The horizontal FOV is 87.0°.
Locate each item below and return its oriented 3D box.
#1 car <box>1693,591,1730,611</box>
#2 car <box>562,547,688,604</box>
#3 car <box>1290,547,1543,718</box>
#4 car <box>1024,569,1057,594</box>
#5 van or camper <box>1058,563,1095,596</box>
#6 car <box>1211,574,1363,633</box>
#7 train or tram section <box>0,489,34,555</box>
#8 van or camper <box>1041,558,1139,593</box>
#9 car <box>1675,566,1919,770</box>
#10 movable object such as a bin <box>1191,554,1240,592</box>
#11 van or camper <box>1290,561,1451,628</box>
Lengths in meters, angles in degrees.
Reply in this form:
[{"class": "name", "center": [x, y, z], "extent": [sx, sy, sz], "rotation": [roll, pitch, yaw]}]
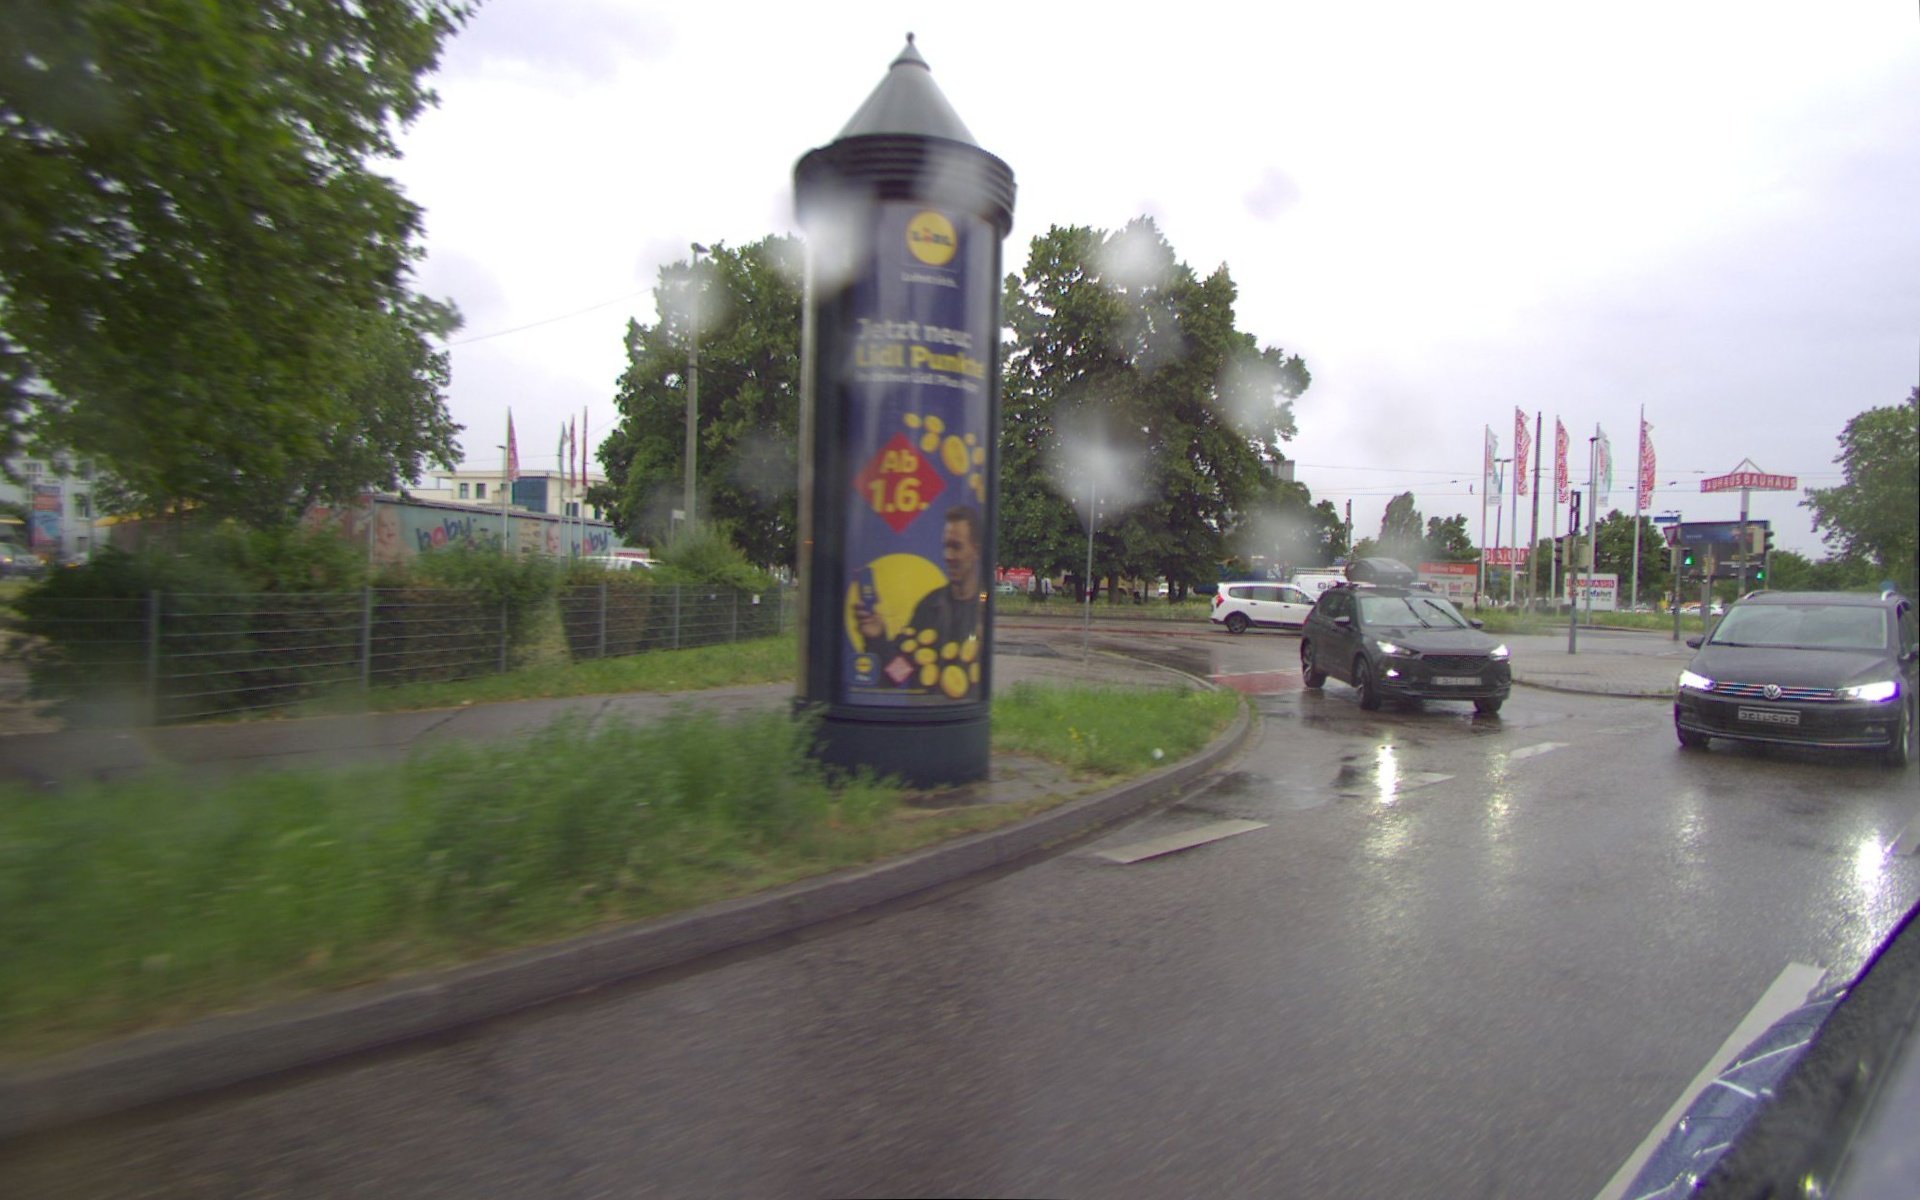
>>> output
[{"class": "car", "center": [63.758, 0.082, 85.868], "extent": [3.933, 1.639, 1.819], "rotation": [0, 2, -43]}, {"class": "car", "center": [-12.791, -0.931, 38.760], "extent": [4.161, 2.117, 1.995], "rotation": [0, 1, 10]}, {"class": "car", "center": [6.498, 0.334, 15.089], "extent": [1.898, 2.081, 4.750], "rotation": [2, 2, 5]}, {"class": "car", "center": [6.143, -1.423, 76.638], "extent": [1.839, 1.749, 3.952], "rotation": [2, 2, 14]}, {"class": "van or camper", "center": [8.665, -1.521, 75.026], "extent": [2.102, 2.328, 4.449], "rotation": [2, 2, 14]}, {"class": "car", "center": [10.466, 0.081, 32.689], "extent": [4.391, 1.693, 1.862], "rotation": [2, 1, 11]}, {"class": "train or tram section", "center": [-56.126, -4.262, 56.279], "extent": [8.239, 3.564, 2.393], "rotation": [0, 1, 11]}, {"class": "van or camper", "center": [12.146, -2.262, 94.332], "extent": [8.847, 3.197, 2.975], "rotation": [0, 1, 14]}, {"class": "car", "center": [9.200, 0.571, 10.671], "extent": [4.118, 1.748, 1.859], "rotation": [0, 0, -42]}, {"class": "movable object such as a bin", "center": [22.888, -2.409, 90.833], "extent": [4.187, 3.325, 2.320], "rotation": [0, 1, 12]}, {"class": "van or camper", "center": [14.120, -0.222, 35.111], "extent": [4.831, 2.114, 1.862], "rotation": [2, 1, 11]}]
